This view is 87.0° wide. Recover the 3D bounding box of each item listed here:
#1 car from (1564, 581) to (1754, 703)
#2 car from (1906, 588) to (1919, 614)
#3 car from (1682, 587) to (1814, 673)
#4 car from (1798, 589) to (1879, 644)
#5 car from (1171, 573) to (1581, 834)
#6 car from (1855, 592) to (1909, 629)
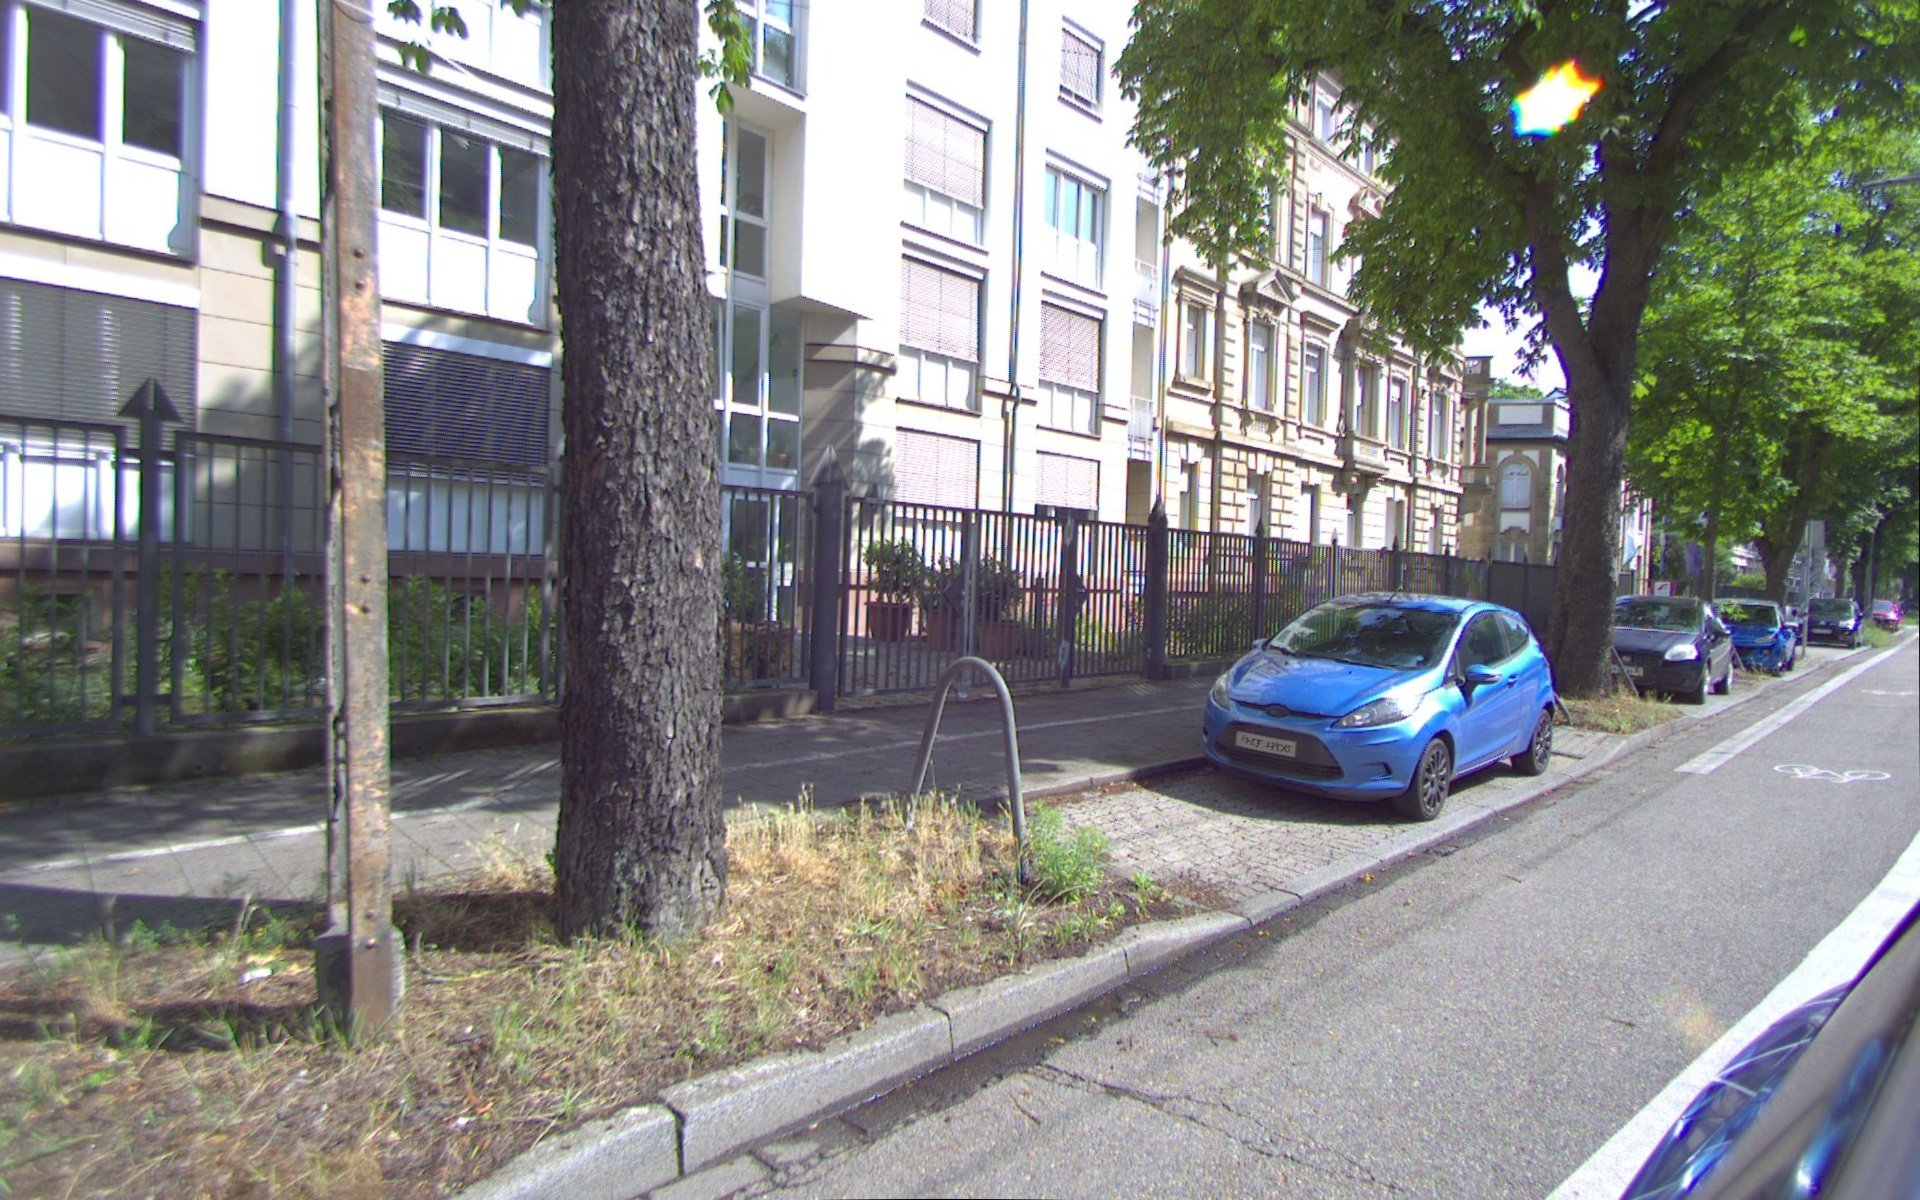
[{"bbox_3d":[10.591,0.540,15.241,1.676,1.493,3.602,7,5,44],"label":"car"},{"bbox_3d":[63.203,0.101,66.235,1.741,1.592,3.867,7,5,44],"label":"car"},{"bbox_3d":[16.339,0.554,20.936,1.676,1.493,3.602,7,5,44],"label":"car"},{"bbox_3d":[29.357,0.517,33.798,1.741,1.592,3.602,7,5,44],"label":"car"},{"bbox_3d":[3.435,0.619,8.039,3.601,1.493,1.644,0,5,-44],"label":"car"},{"bbox_3d":[45.364,0.485,49.784,1.741,1.592,3.867,7,5,44],"label":"car"}]
